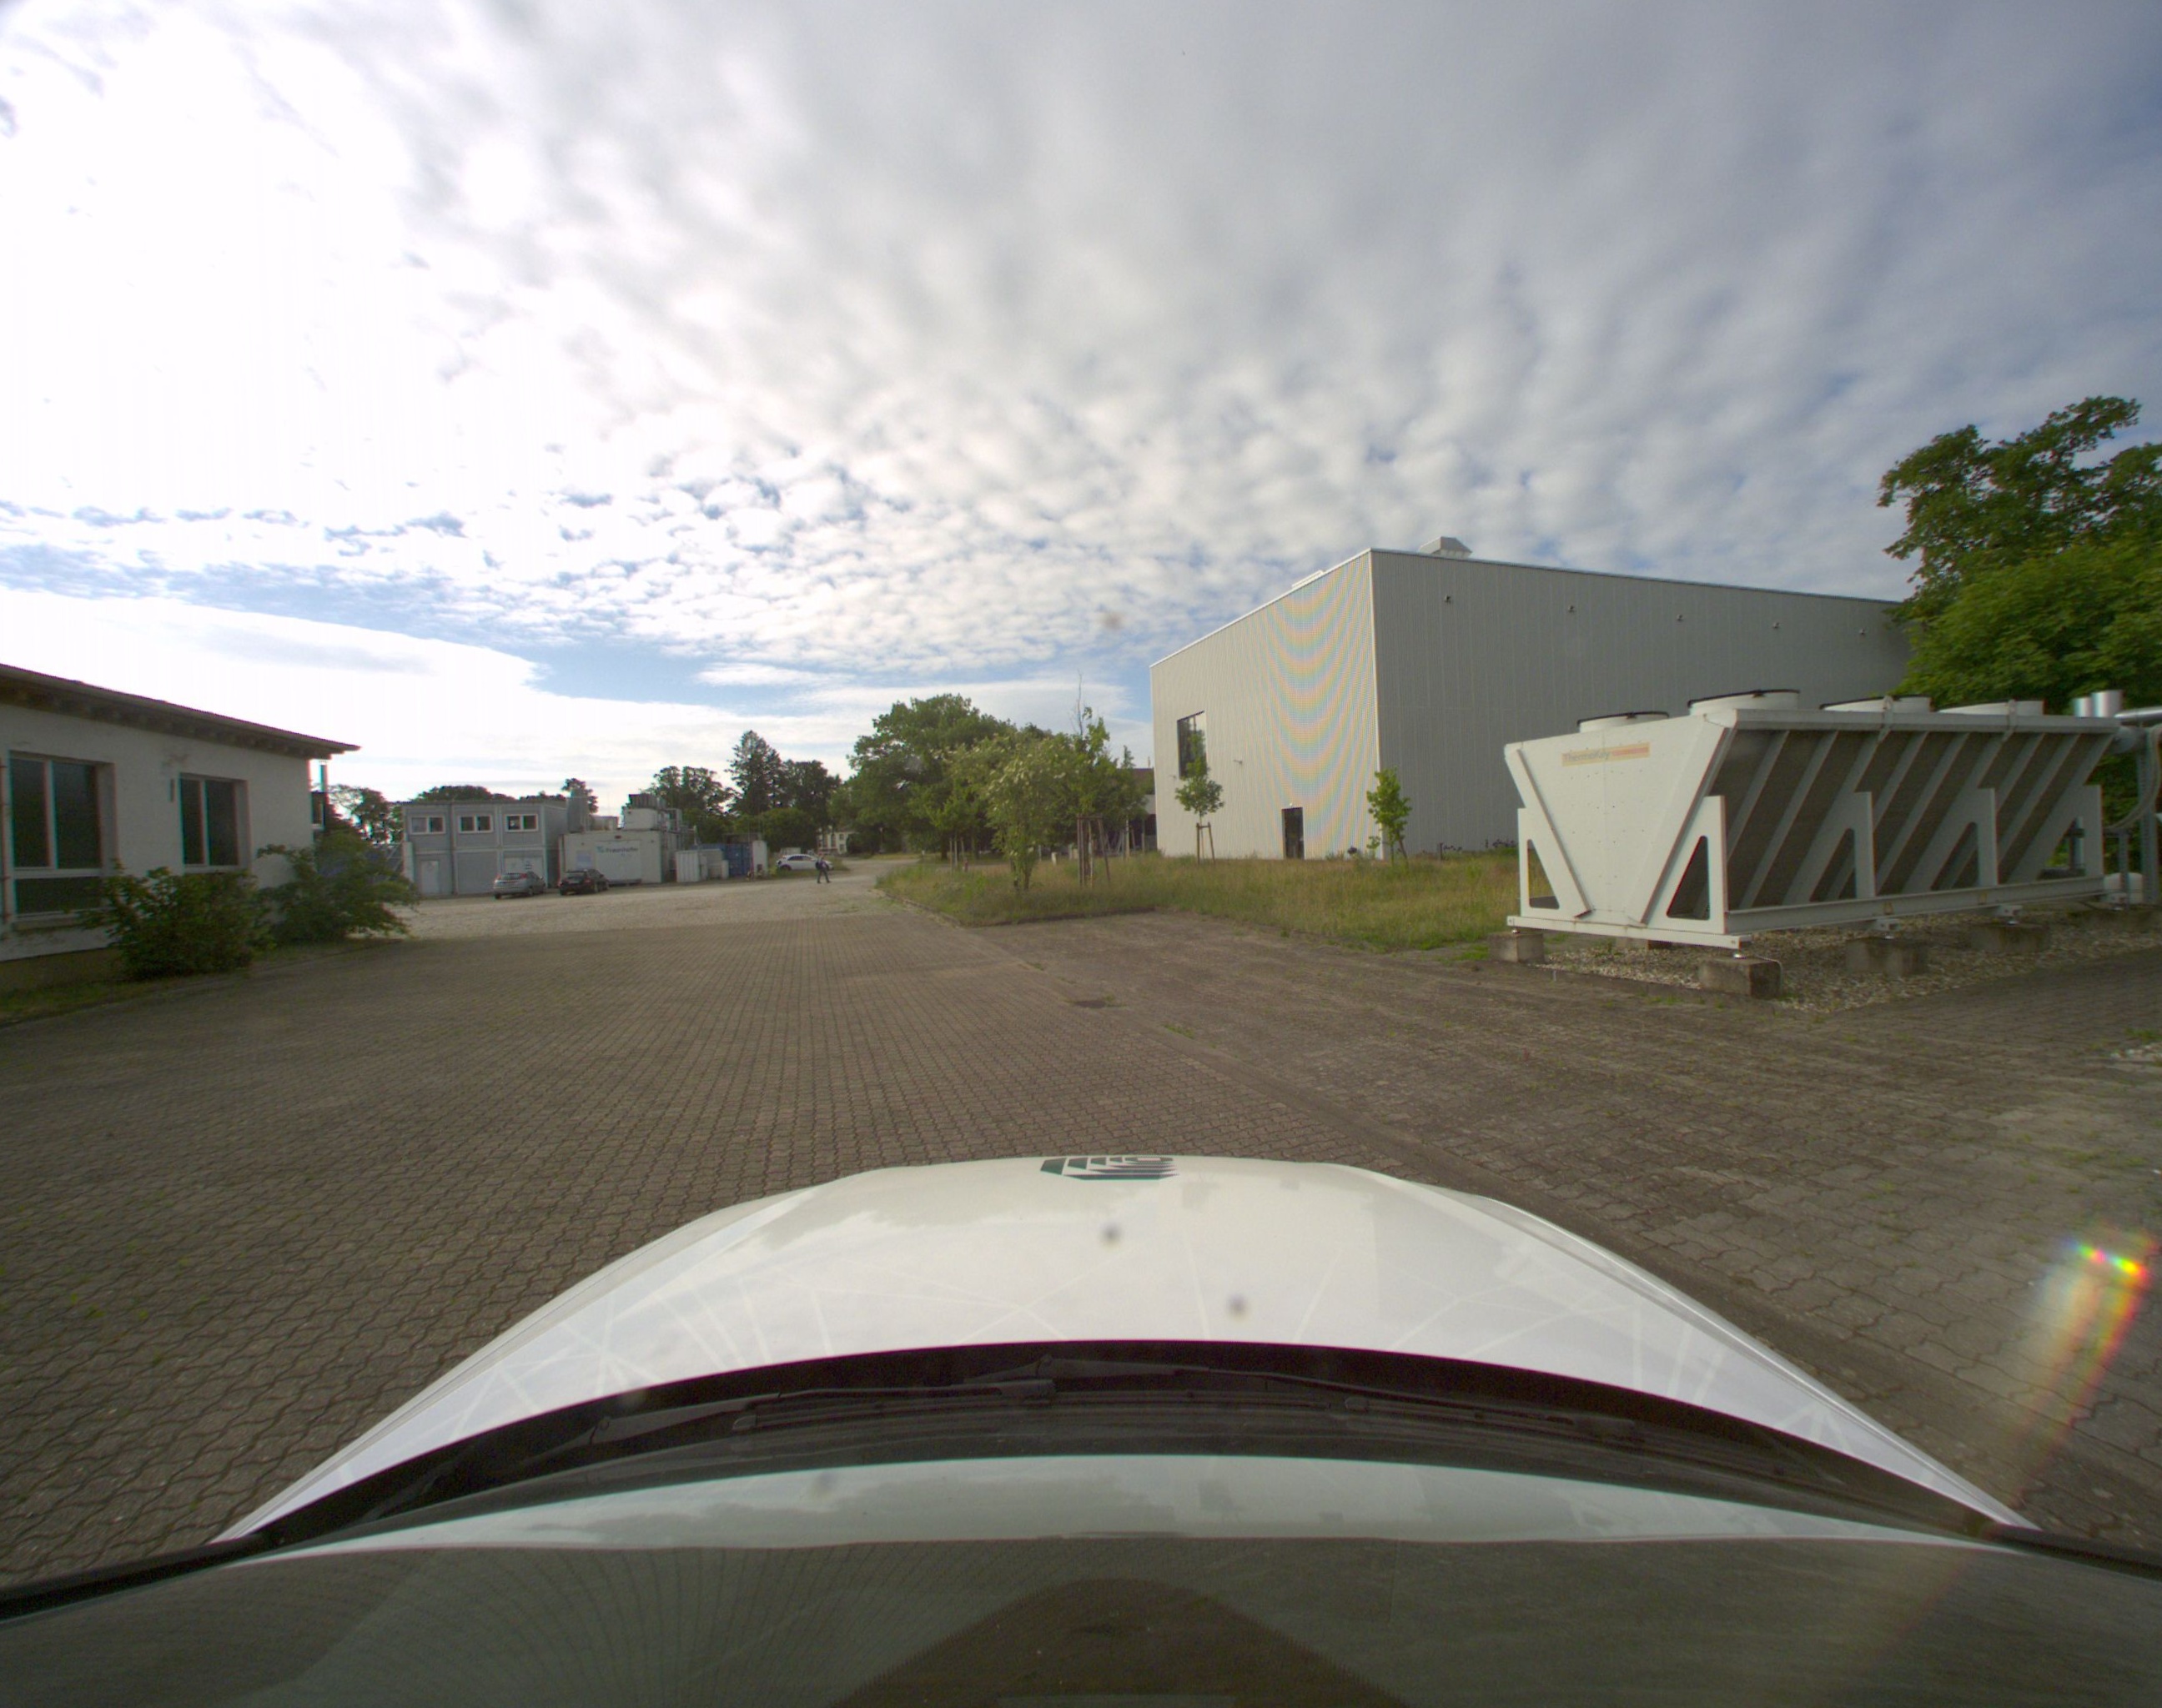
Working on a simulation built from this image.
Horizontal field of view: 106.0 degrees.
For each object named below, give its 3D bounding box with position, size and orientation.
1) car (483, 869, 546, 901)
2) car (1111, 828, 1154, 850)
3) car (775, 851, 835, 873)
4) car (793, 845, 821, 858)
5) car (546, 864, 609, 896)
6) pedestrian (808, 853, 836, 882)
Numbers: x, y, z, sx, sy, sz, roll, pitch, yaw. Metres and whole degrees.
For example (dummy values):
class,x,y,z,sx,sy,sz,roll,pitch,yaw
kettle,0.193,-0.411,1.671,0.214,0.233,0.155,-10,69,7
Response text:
class,x,y,z,sx,sy,sz,roll,pitch,yaw
car,-32.188,1.705,46.381,1.913,1.475,4.019,-3,2,-21
car,5.021,-1.457,80.336,2.249,2.013,5.301,-3,1,-20
car,-22.889,0.650,67.636,4.545,1.599,1.989,-3,1,-17
car,-54.933,-0.464,163.370,5.187,2.337,1.987,-3,1,-19
car,-29.143,1.459,47.297,2.043,1.453,4.502,-3,3,-19
pedestrian,-14.696,0.734,46.273,1.070,1.556,1.077,-3,1,5
